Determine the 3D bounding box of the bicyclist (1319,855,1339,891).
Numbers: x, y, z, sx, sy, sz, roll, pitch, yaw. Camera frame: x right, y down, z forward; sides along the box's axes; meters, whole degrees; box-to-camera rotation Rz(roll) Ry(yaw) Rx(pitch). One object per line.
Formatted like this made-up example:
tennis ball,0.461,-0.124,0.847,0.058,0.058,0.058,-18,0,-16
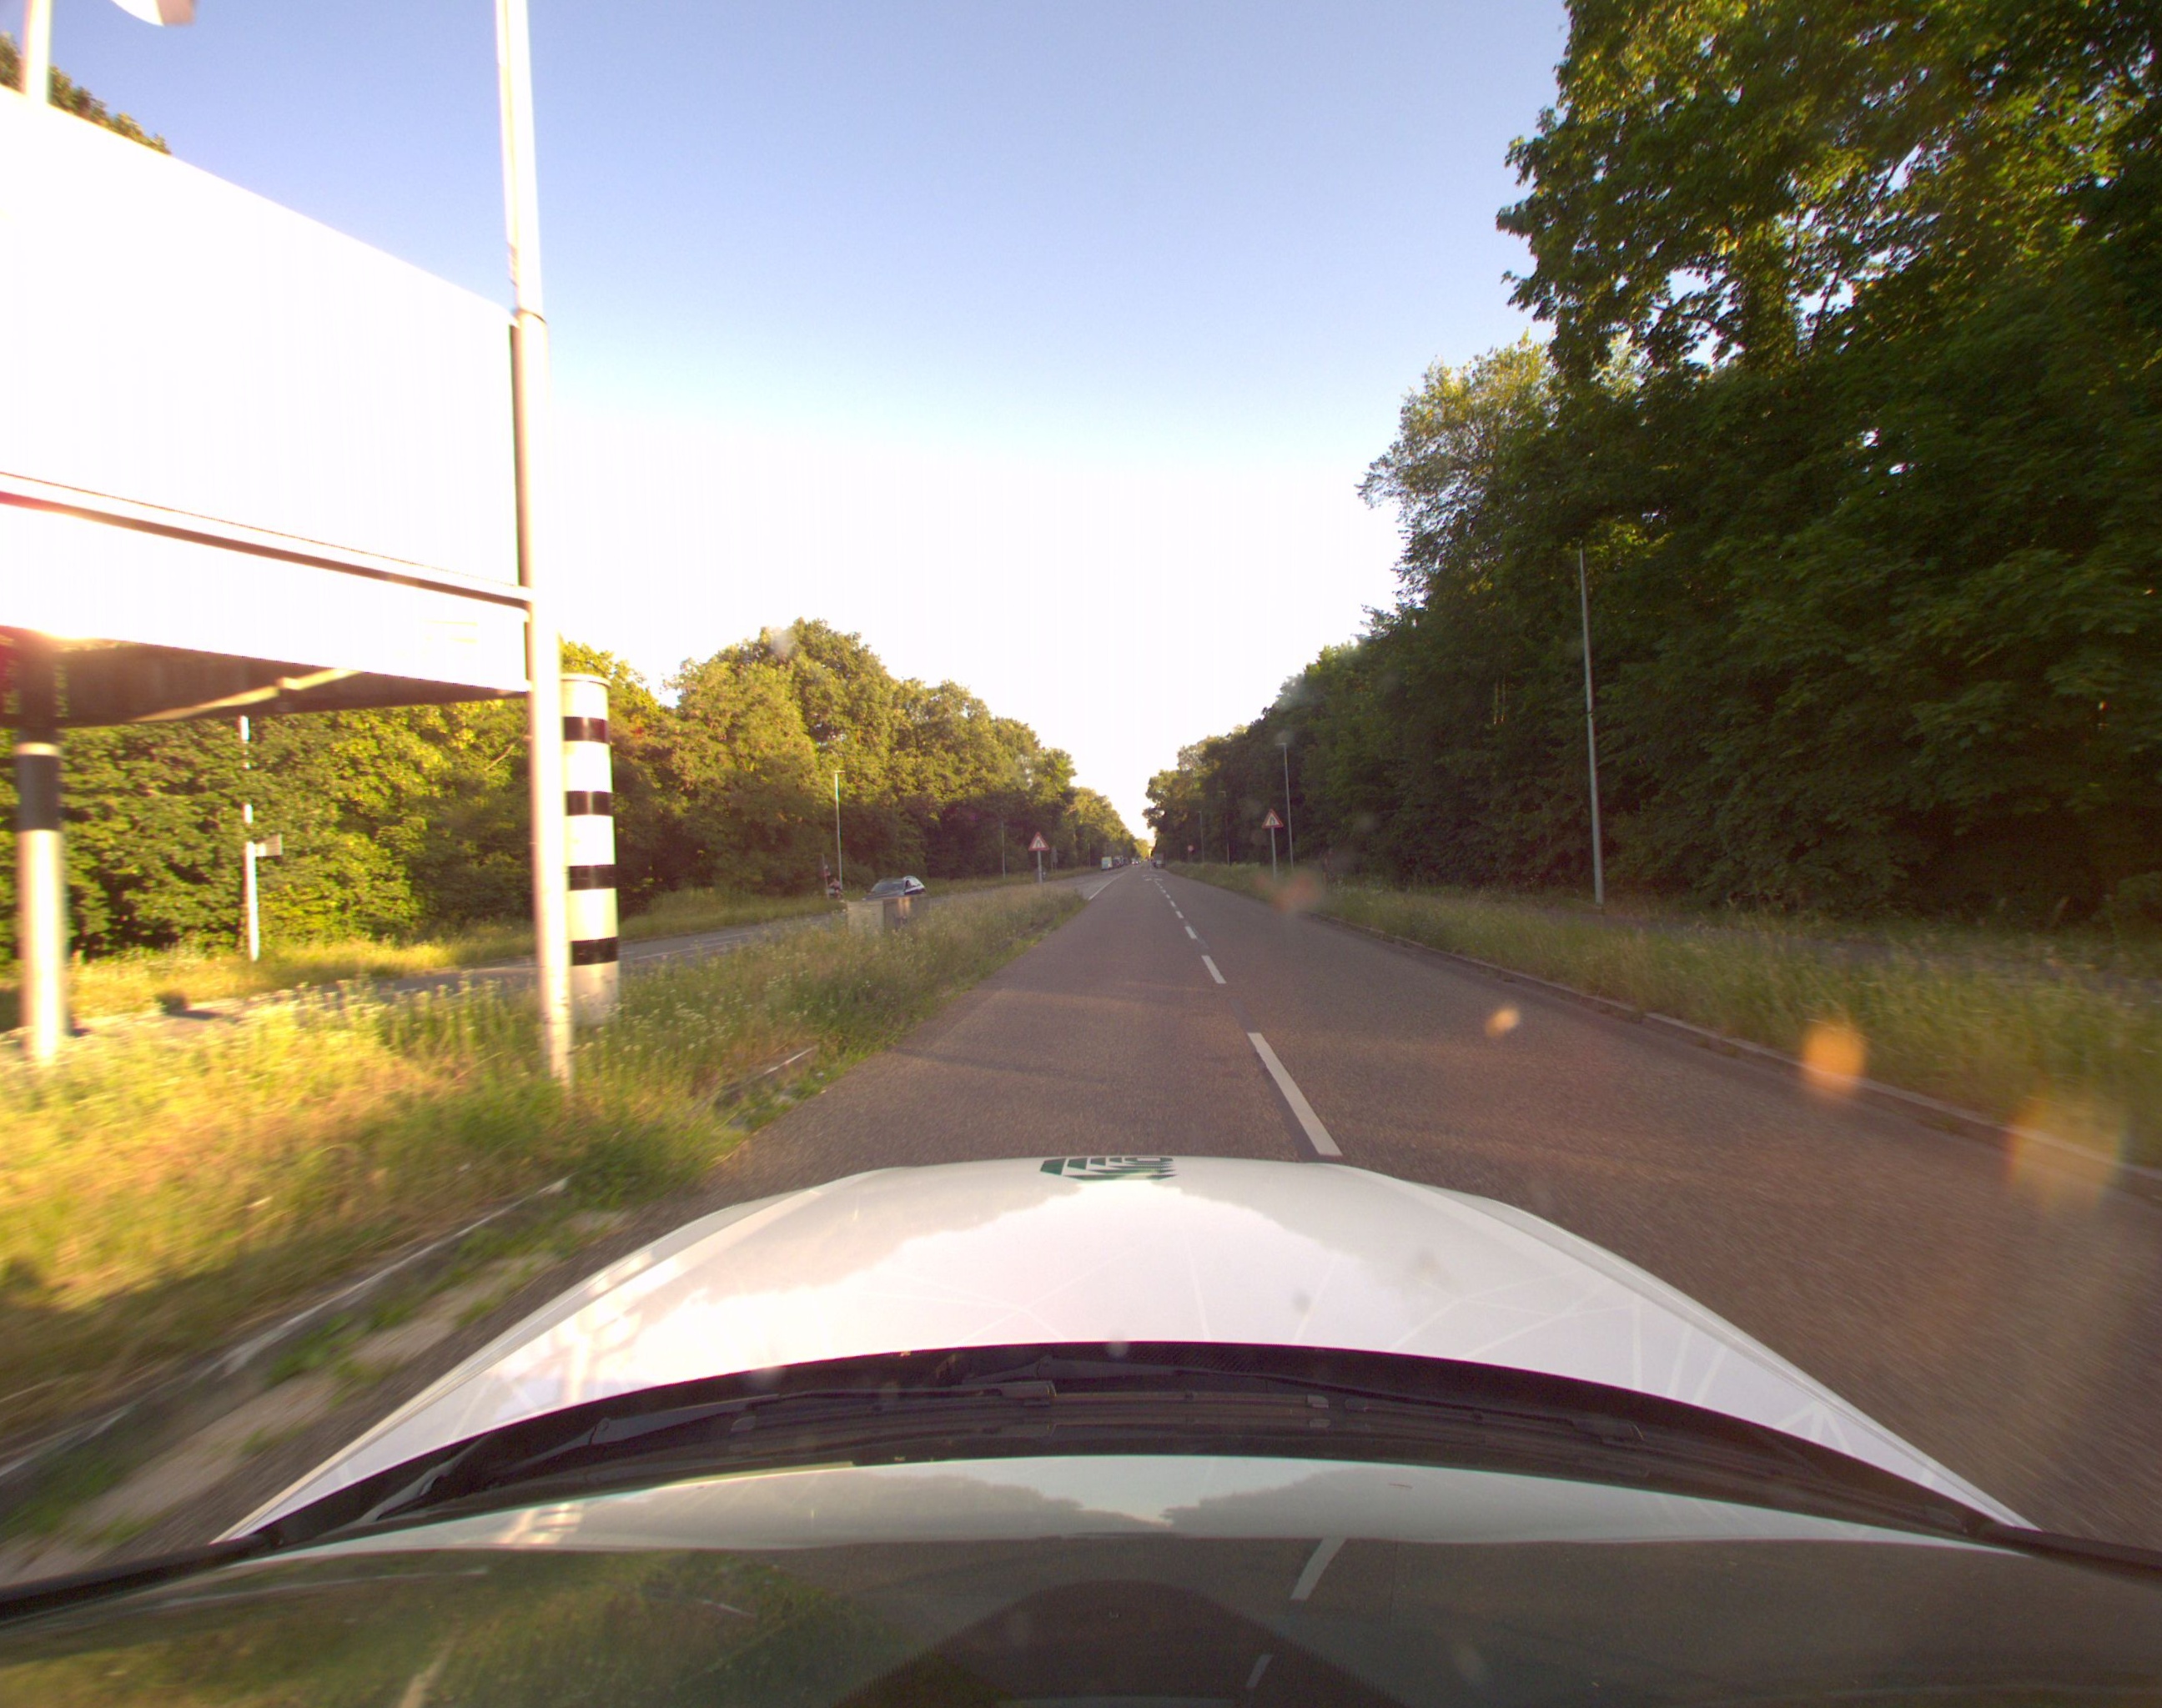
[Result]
bicyclist,10.586,0.799,34.735,0.600,1.455,0.781,-3,-1,5

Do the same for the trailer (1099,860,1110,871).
trailer,4.667,2.229,160.854,1.809,2.167,4.147,-4,-1,4

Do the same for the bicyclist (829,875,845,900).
bicyclist,-15.001,2.050,50.101,0.582,1.429,0.825,-3,-1,11

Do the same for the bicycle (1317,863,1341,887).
bicycle,10.581,0.890,34.837,0.608,0.995,1.693,-3,-1,5

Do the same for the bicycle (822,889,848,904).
bicycle,-15.076,2.577,49.948,0.582,0.804,1.965,-3,-1,11

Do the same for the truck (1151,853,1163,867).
truck,17.979,1.367,192.226,2.576,3.255,7.232,-2,-1,6

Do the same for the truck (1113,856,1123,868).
truck,11.245,2.347,244.751,2.492,3.329,6.850,-4,-1,4

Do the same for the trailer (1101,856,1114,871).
trailer,5.723,2.025,176.452,2.316,2.924,5.633,-5,-1,4

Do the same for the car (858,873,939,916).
car,-7.768,1.690,35.068,1.809,1.534,4.466,-5,-1,8

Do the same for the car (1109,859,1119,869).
car,8.230,2.463,202.802,1.984,2.364,5.772,-5,-1,5

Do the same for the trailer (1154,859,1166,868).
trailer,15.500,1.904,159.864,1.444,1.662,3.794,-4,-1,18
